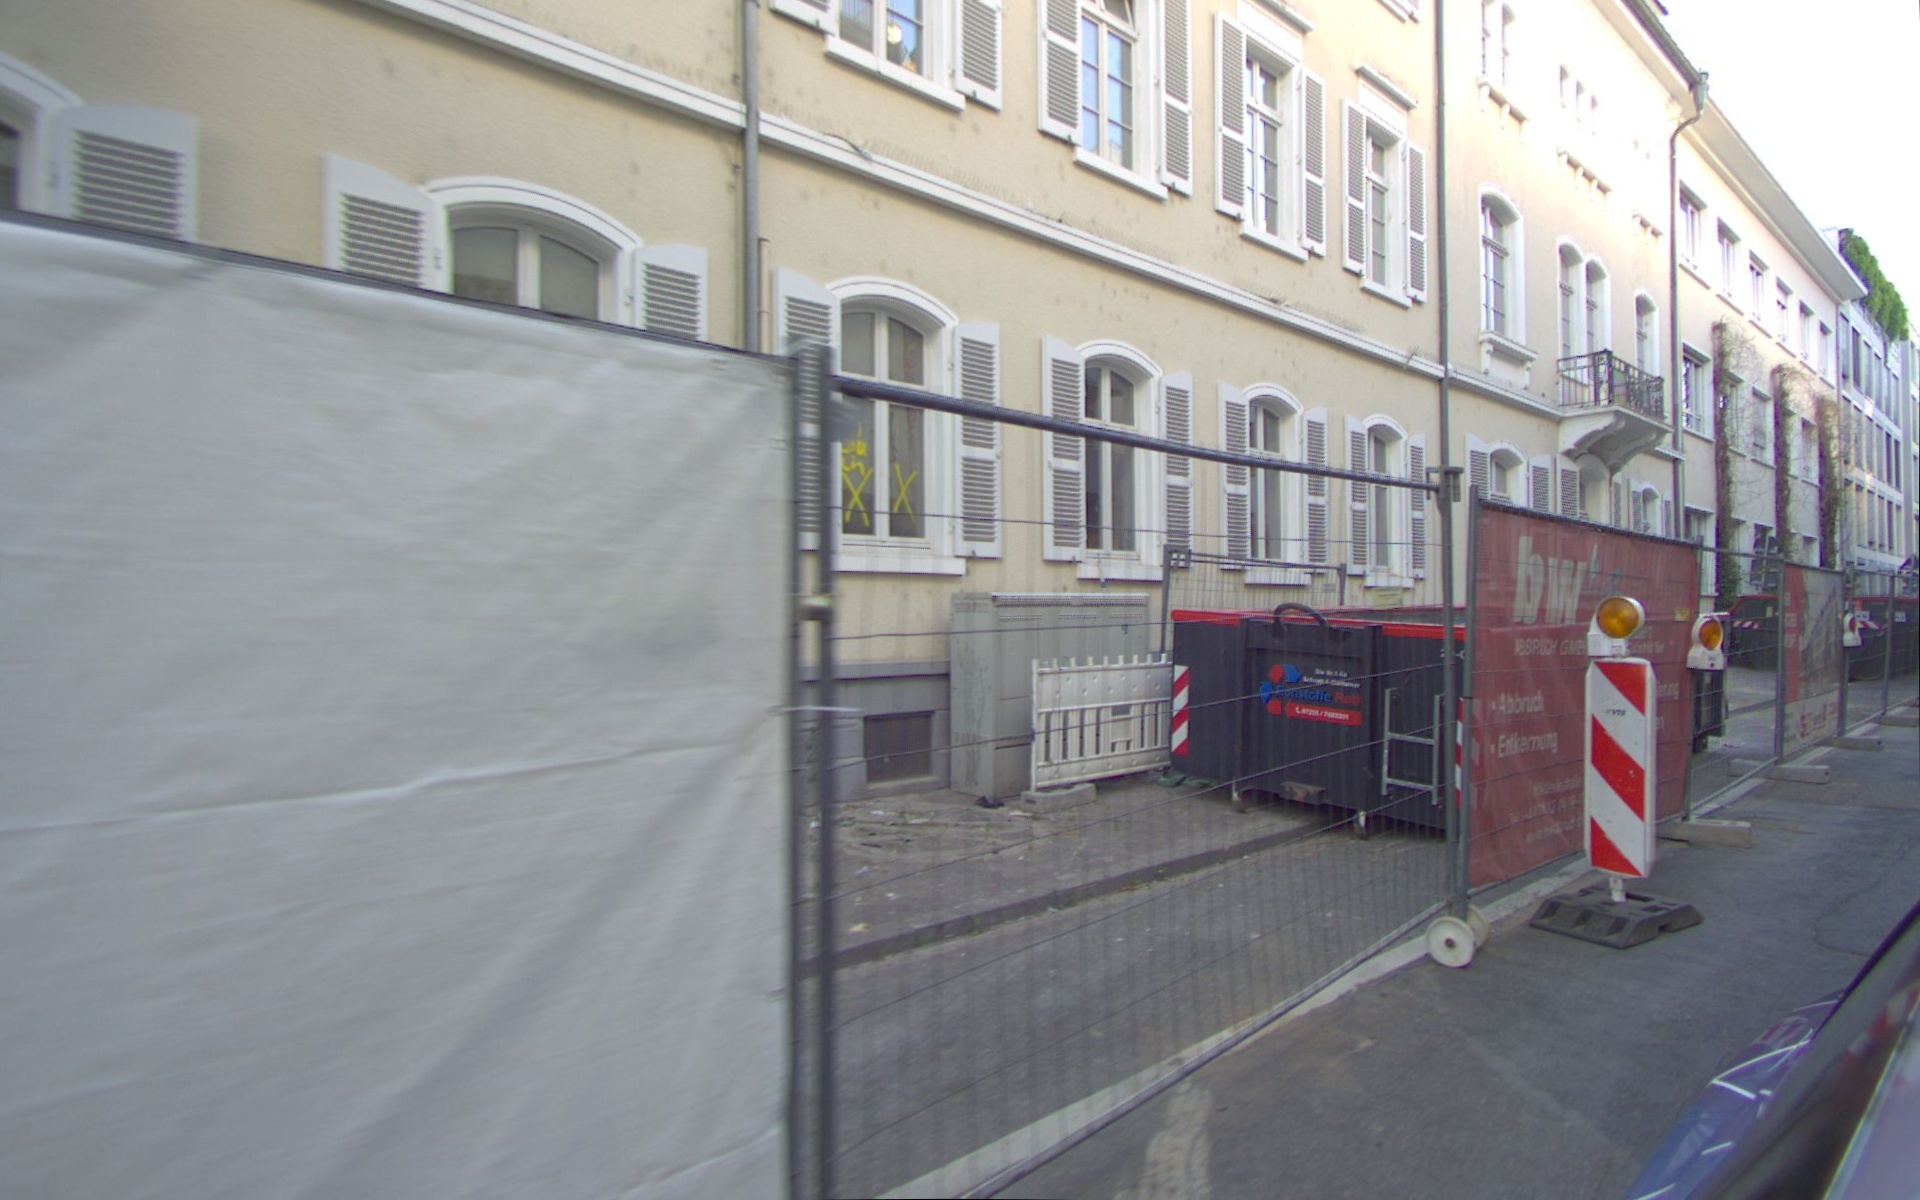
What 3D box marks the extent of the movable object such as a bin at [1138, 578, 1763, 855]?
[{"bbox_3d":[5.094,0.703,9.584,7.423,1.659,2.739,0,-1,-42],"label":"movable object such as a bin"}]
